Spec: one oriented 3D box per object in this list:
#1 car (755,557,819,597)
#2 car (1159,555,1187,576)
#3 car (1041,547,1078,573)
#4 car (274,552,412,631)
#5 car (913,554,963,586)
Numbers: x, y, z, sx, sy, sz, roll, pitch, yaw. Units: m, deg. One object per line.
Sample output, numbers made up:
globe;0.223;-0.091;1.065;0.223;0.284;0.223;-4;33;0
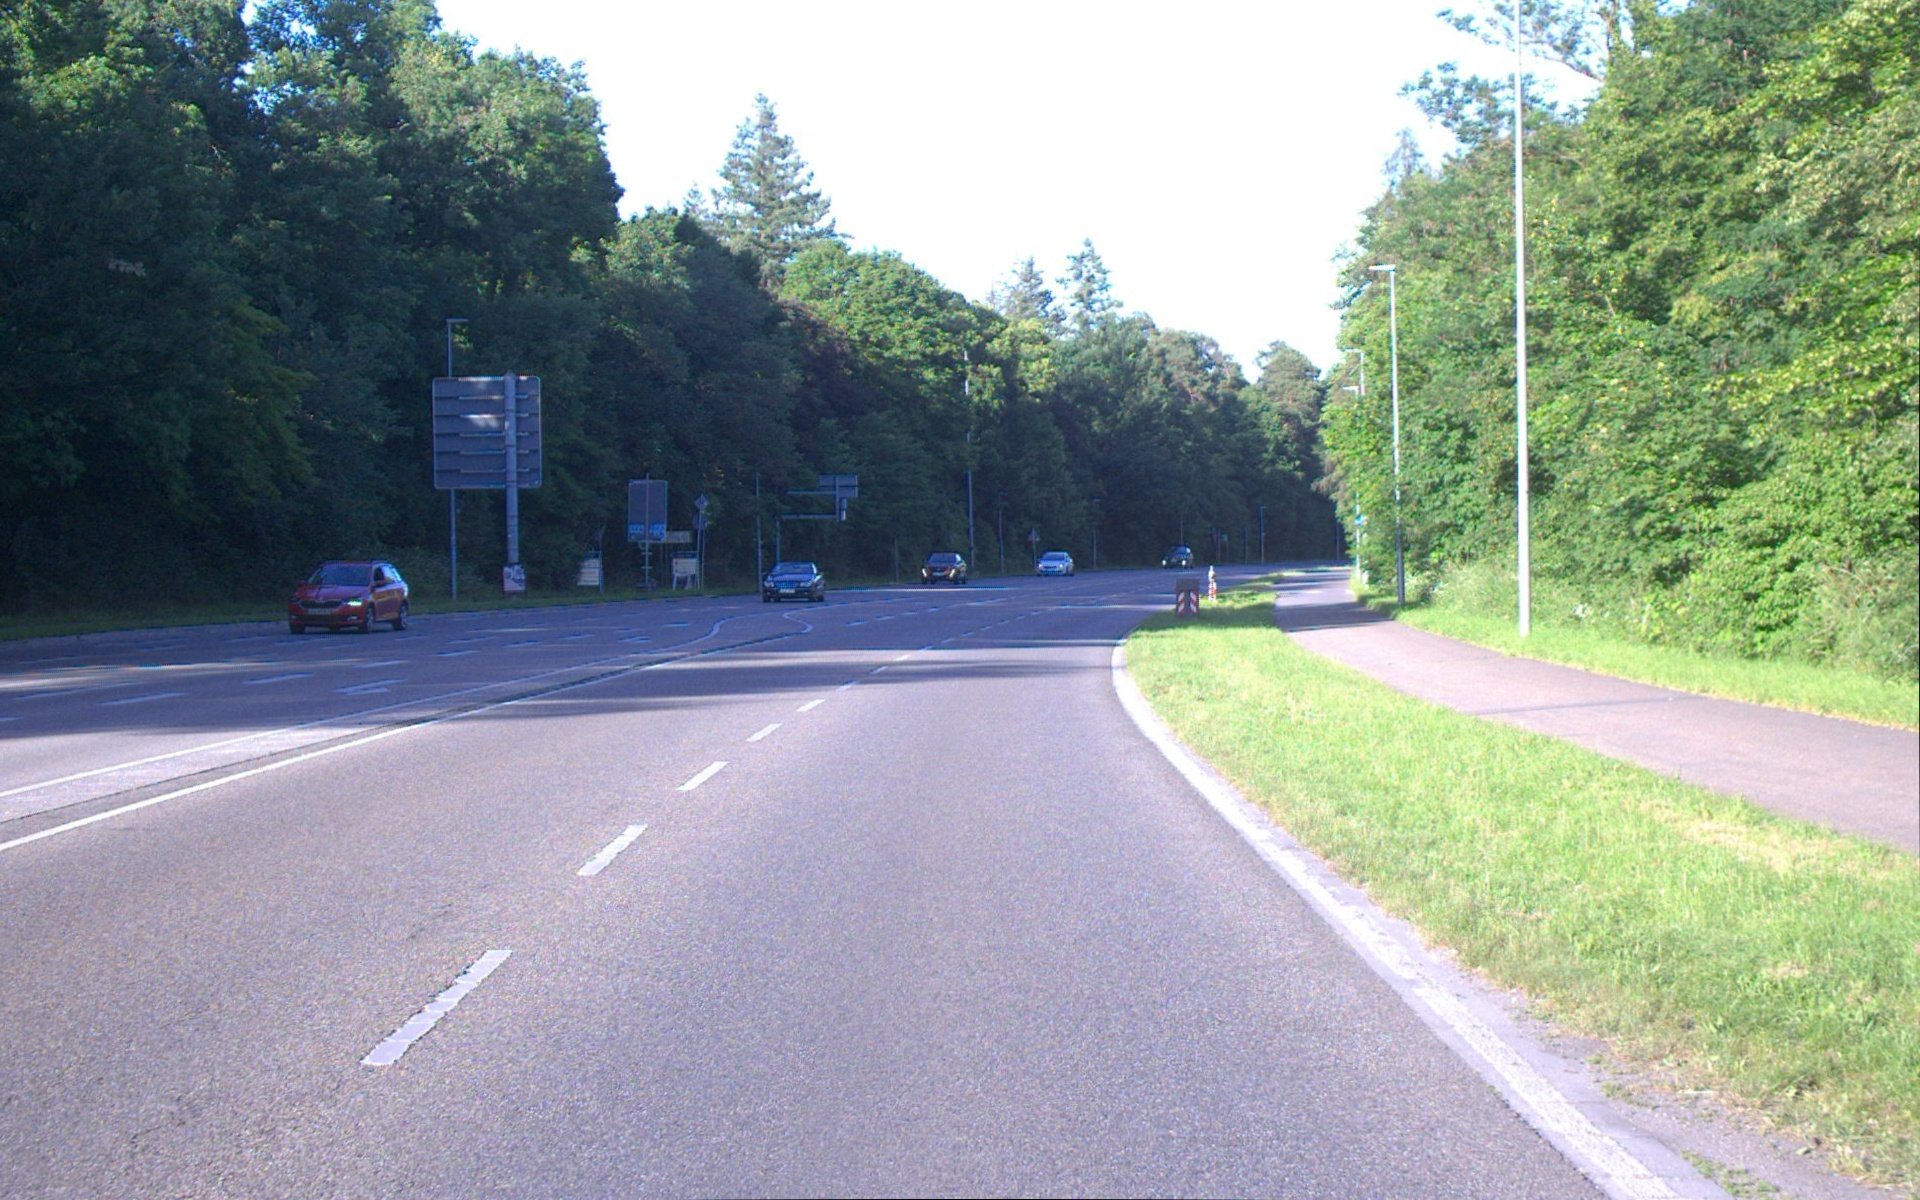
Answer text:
car;-5.719;-0.772;113.822;1.744;1.230;4.673;-1;1;2
car;16.074;-2.586;259.142;1.825;1.584;4.350;0;1;7
car;6.009;-2.417;206.623;1.825;1.499;4.305;0;1;7
car;-12.901;-0.201;72.138;1.993;1.559;4.338;-1;1;2
car;-1.049;-1.459;166.619;1.825;1.539;4.255;0;1;9
